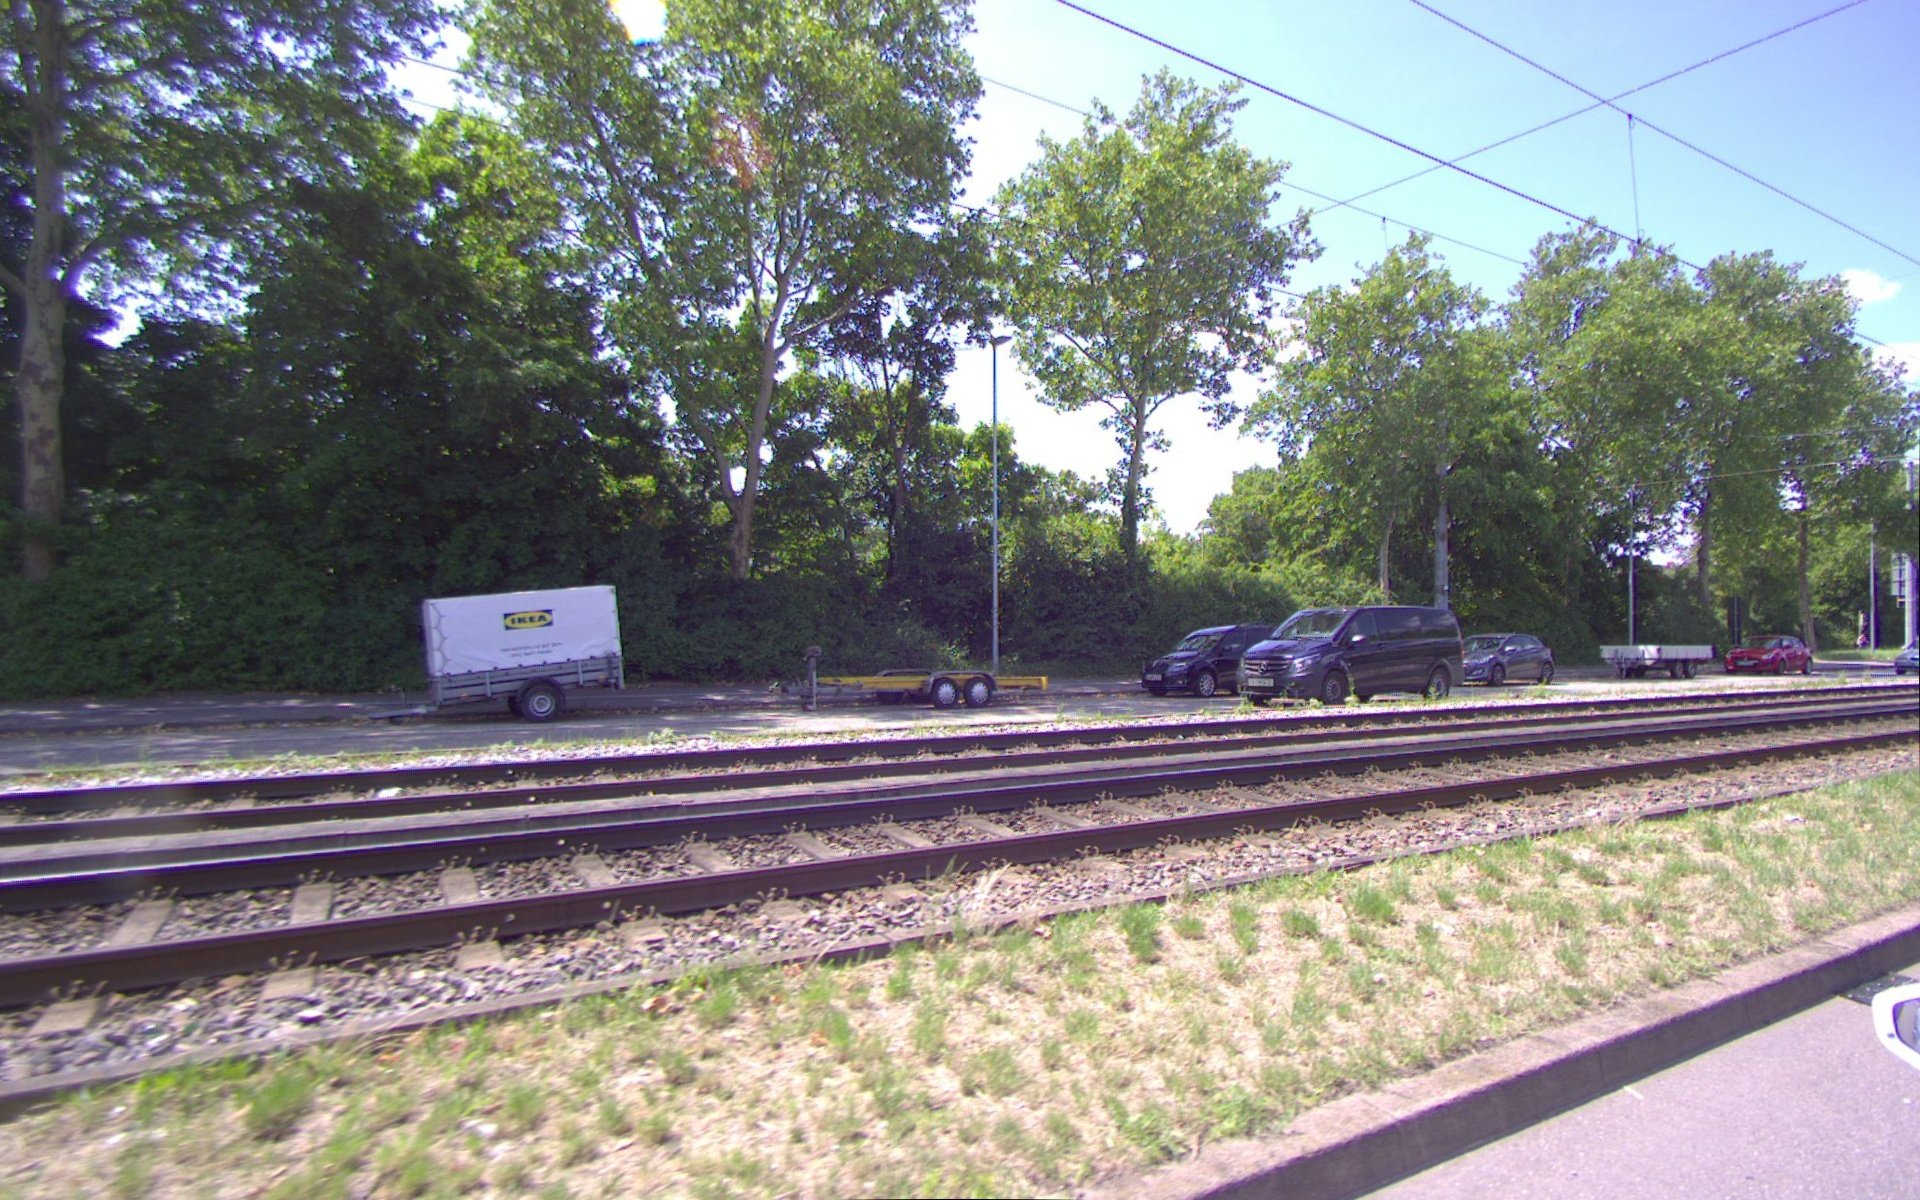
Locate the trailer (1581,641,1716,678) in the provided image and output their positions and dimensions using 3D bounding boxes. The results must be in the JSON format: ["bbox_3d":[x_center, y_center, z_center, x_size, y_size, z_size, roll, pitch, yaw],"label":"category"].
[{"bbox_3d":[23.239,1.972,33.842,5.046,1.058,1.883,1,0,-32],"label":"trailer"}]

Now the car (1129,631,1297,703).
[{"bbox_3d":[5.774,1.470,22.793,3.878,1.470,1.426,1,-1,-32],"label":"car"}]

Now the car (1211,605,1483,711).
[{"bbox_3d":[7.595,1.062,19.556,5.343,1.814,2.106,1,-1,-31],"label":"car"}]

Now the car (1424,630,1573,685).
[{"bbox_3d":[15.500,1.610,28.854,4.369,1.419,1.860,1,-1,-32],"label":"car"}]

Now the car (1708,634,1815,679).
[{"bbox_3d":[30.977,2.141,38.809,3.954,1.595,1.984,1,-1,-31],"label":"car"}]

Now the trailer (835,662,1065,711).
[{"bbox_3d":[-0.169,1.612,19.171,3.954,0.752,1.984,3,-2,-31],"label":"trailer"}]

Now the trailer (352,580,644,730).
[{"bbox_3d":[-7.004,0.758,15.353,3.874,2.040,1.600,1,1,-33],"label":"trailer"}]

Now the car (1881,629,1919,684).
[{"bbox_3d":[37.828,2.178,38.990,3.954,2.040,1.984,1,-1,-31],"label":"car"}]
